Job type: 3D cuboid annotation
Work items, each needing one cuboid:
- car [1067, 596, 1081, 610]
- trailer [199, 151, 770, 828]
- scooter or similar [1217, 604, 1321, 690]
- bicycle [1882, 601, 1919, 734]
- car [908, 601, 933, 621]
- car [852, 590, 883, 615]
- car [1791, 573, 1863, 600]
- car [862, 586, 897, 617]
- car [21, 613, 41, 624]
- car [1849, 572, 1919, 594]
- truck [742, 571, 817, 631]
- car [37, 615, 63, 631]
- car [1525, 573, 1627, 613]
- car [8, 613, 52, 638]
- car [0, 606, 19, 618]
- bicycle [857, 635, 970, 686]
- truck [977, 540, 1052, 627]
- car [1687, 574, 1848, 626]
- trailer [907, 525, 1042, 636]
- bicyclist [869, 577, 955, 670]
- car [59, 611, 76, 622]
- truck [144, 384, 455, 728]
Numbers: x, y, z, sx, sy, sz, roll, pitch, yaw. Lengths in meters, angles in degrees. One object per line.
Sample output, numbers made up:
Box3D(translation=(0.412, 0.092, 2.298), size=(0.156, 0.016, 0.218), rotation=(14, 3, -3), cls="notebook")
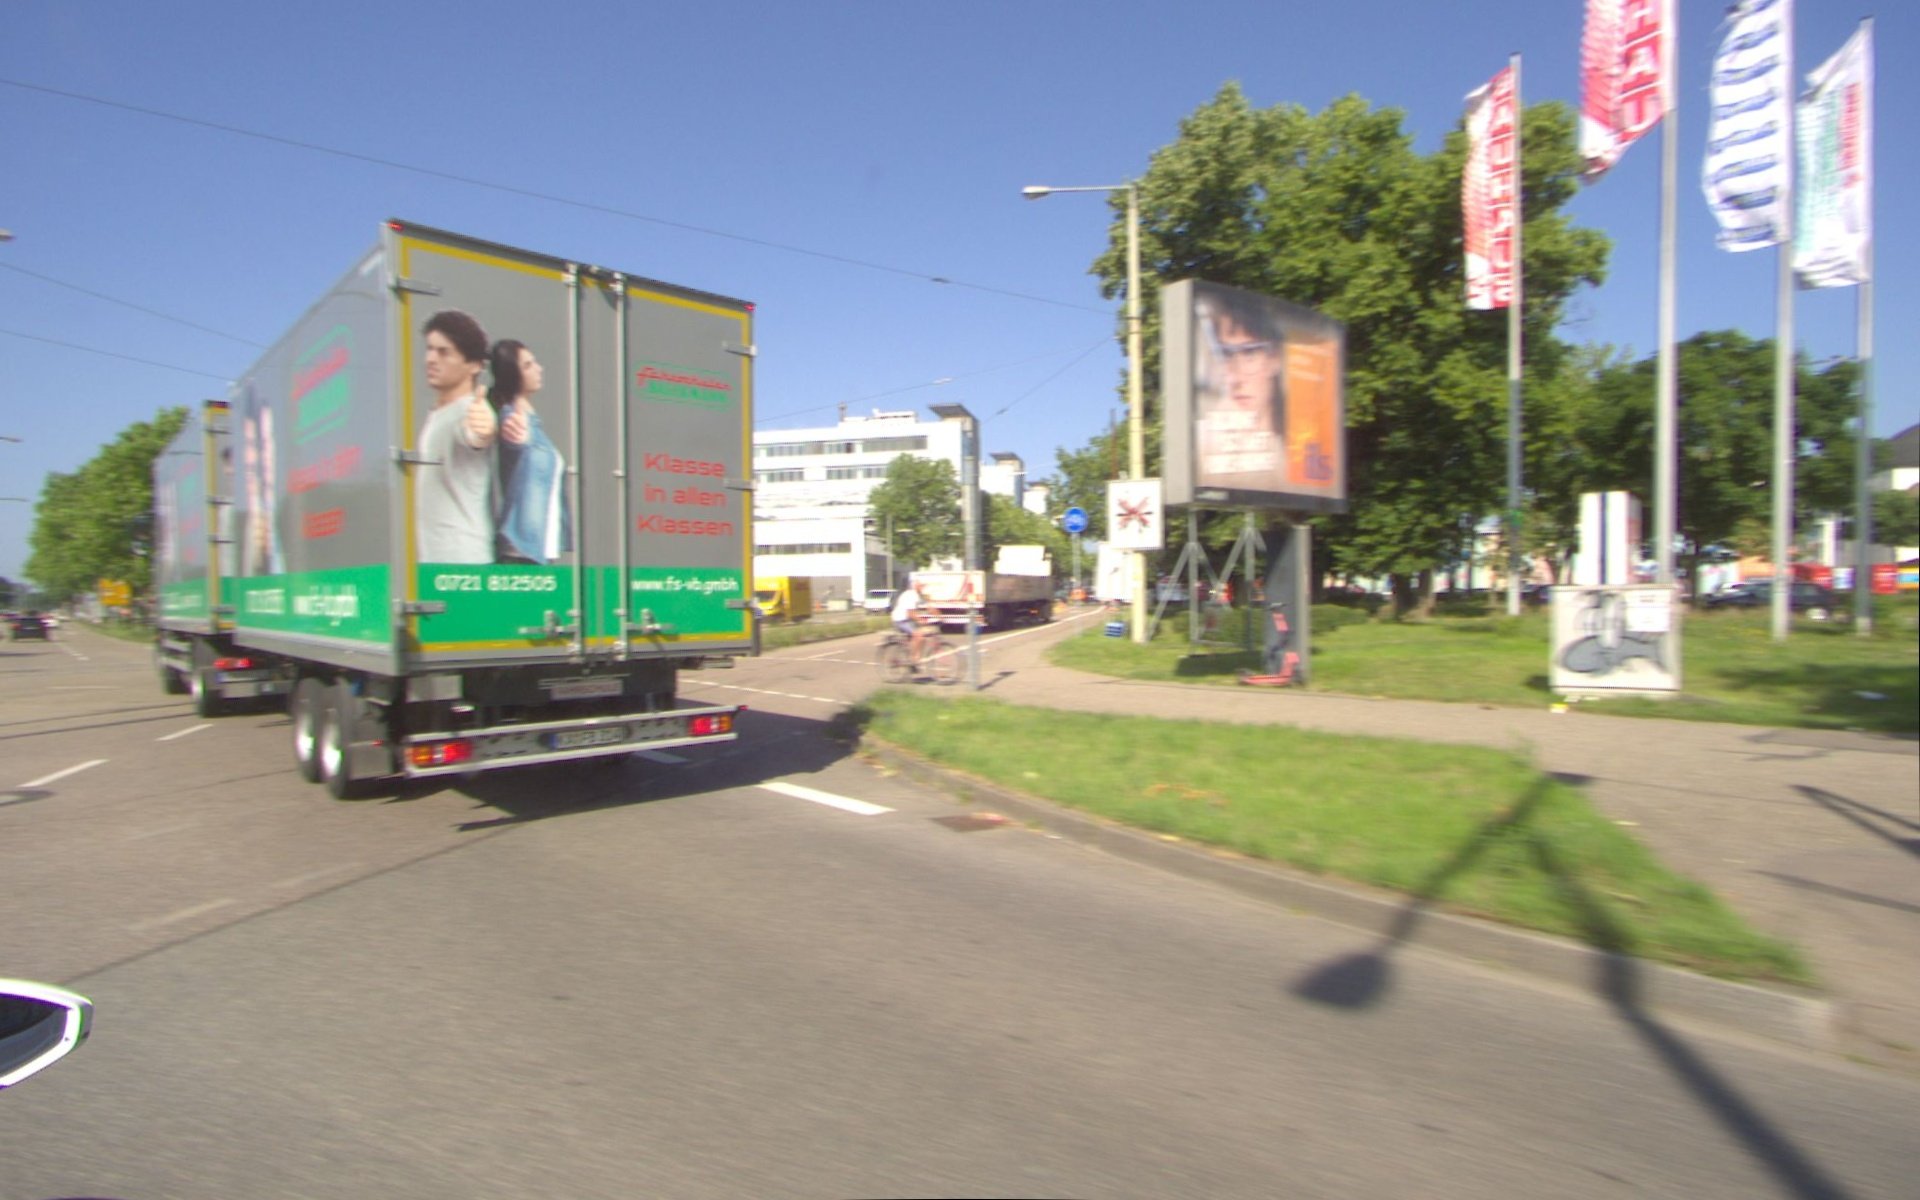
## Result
Box3D(translation=(17.549, 0.491, 154.377), size=(1.961, 2.039, 4.001), rotation=(0, -2, 8), cls="car")
Box3D(translation=(-5.066, -0.556, 9.562), size=(2.718, 3.927, 7.662), rotation=(0, -1, -43), cls="trailer")
Box3D(translation=(4.343, 0.639, 14.115), size=(0.432, 1.164, 1.359), rotation=(-2, 1, -44), cls="scooter or similar")
Box3D(translation=(9.235, 0.575, 9.154), size=(1.878, 1.154, 0.494), rotation=(-1, 0, -25), cls="bicycle")
Box3D(translation=(-3.803, 1.113, 96.952), size=(1.961, 1.816, 4.002), rotation=(0, -2, 5), cls="car")
Box3D(translation=(-8.010, 0.251, 86.757), size=(1.961, 2.039, 4.002), rotation=(0, -2, 5), cls="car")
Box3D(translation=(68.937, -1.080, 79.663), size=(3.922, 2.039, 2.001), rotation=(0, -2, 4), cls="car")
Box3D(translation=(-6.277, 0.136, 78.464), size=(1.961, 2.229, 4.001), rotation=(0, -2, 8), cls="car")
Box3D(translation=(-138.903, 2.791, 149.748), size=(1.980, 1.605, 4.416), rotation=(2, -3, -42), cls="car")
Box3D(translation=(80.116, -1.431, 86.163), size=(5.053, 1.777, 1.998), rotation=(0, -2, 18), cls="car")
Box3D(translation=(-10.292, 0.151, 57.759), size=(2.255, 3.174, 6.963), rotation=(0, -2, 8), cls="truck")
Box3D(translation=(-97.634, 2.465, 107.433), size=(1.980, 1.605, 4.416), rotation=(2, -3, -42), cls="car")
Box3D(translation=(30.074, -0.316, 49.015), size=(3.930, 1.861, 1.997), rotation=(0, -2, 20), cls="car")
Box3D(translation=(-61.031, 1.675, 65.747), size=(1.980, 1.605, 4.416), rotation=(2, -3, -42), cls="car")
Box3D(translation=(-140.420, 1.760, 147.899), size=(1.980, 1.605, 4.416), rotation=(2, -3, -42), cls="car")
Box3D(translation=(-0.795, 1.009, 16.885), size=(1.879, 0.805, 0.532), rotation=(-1, 1, 25), cls="bicycle")
Box3D(translation=(2.655, -0.734, 47.578), size=(2.747, 3.878, 5.100), rotation=(0, 0, 13), cls="truck")
Box3D(translation=(28.136, 0.022, 35.042), size=(3.930, 1.705, 1.997), rotation=(0, -2, 20), cls="car")
Box3D(translation=(0.953, -0.693, 40.625), size=(2.764, 3.823, 11.836), rotation=(-1, 0, 14), cls="trailer")
Box3D(translation=(-0.805, 0.386, 16.852), size=(1.216, 1.497, 0.756), rotation=(0, 1, 25), cls="bicyclist")
Box3D(translation=(-141.690, 2.585, 158.933), size=(1.980, 1.605, 4.416), rotation=(2, -3, -42), cls="car")
Box3D(translation=(-10.624, -0.404, 15.584), size=(2.710, 3.940, 8.642), rotation=(0, -1, -43), cls="truck")
